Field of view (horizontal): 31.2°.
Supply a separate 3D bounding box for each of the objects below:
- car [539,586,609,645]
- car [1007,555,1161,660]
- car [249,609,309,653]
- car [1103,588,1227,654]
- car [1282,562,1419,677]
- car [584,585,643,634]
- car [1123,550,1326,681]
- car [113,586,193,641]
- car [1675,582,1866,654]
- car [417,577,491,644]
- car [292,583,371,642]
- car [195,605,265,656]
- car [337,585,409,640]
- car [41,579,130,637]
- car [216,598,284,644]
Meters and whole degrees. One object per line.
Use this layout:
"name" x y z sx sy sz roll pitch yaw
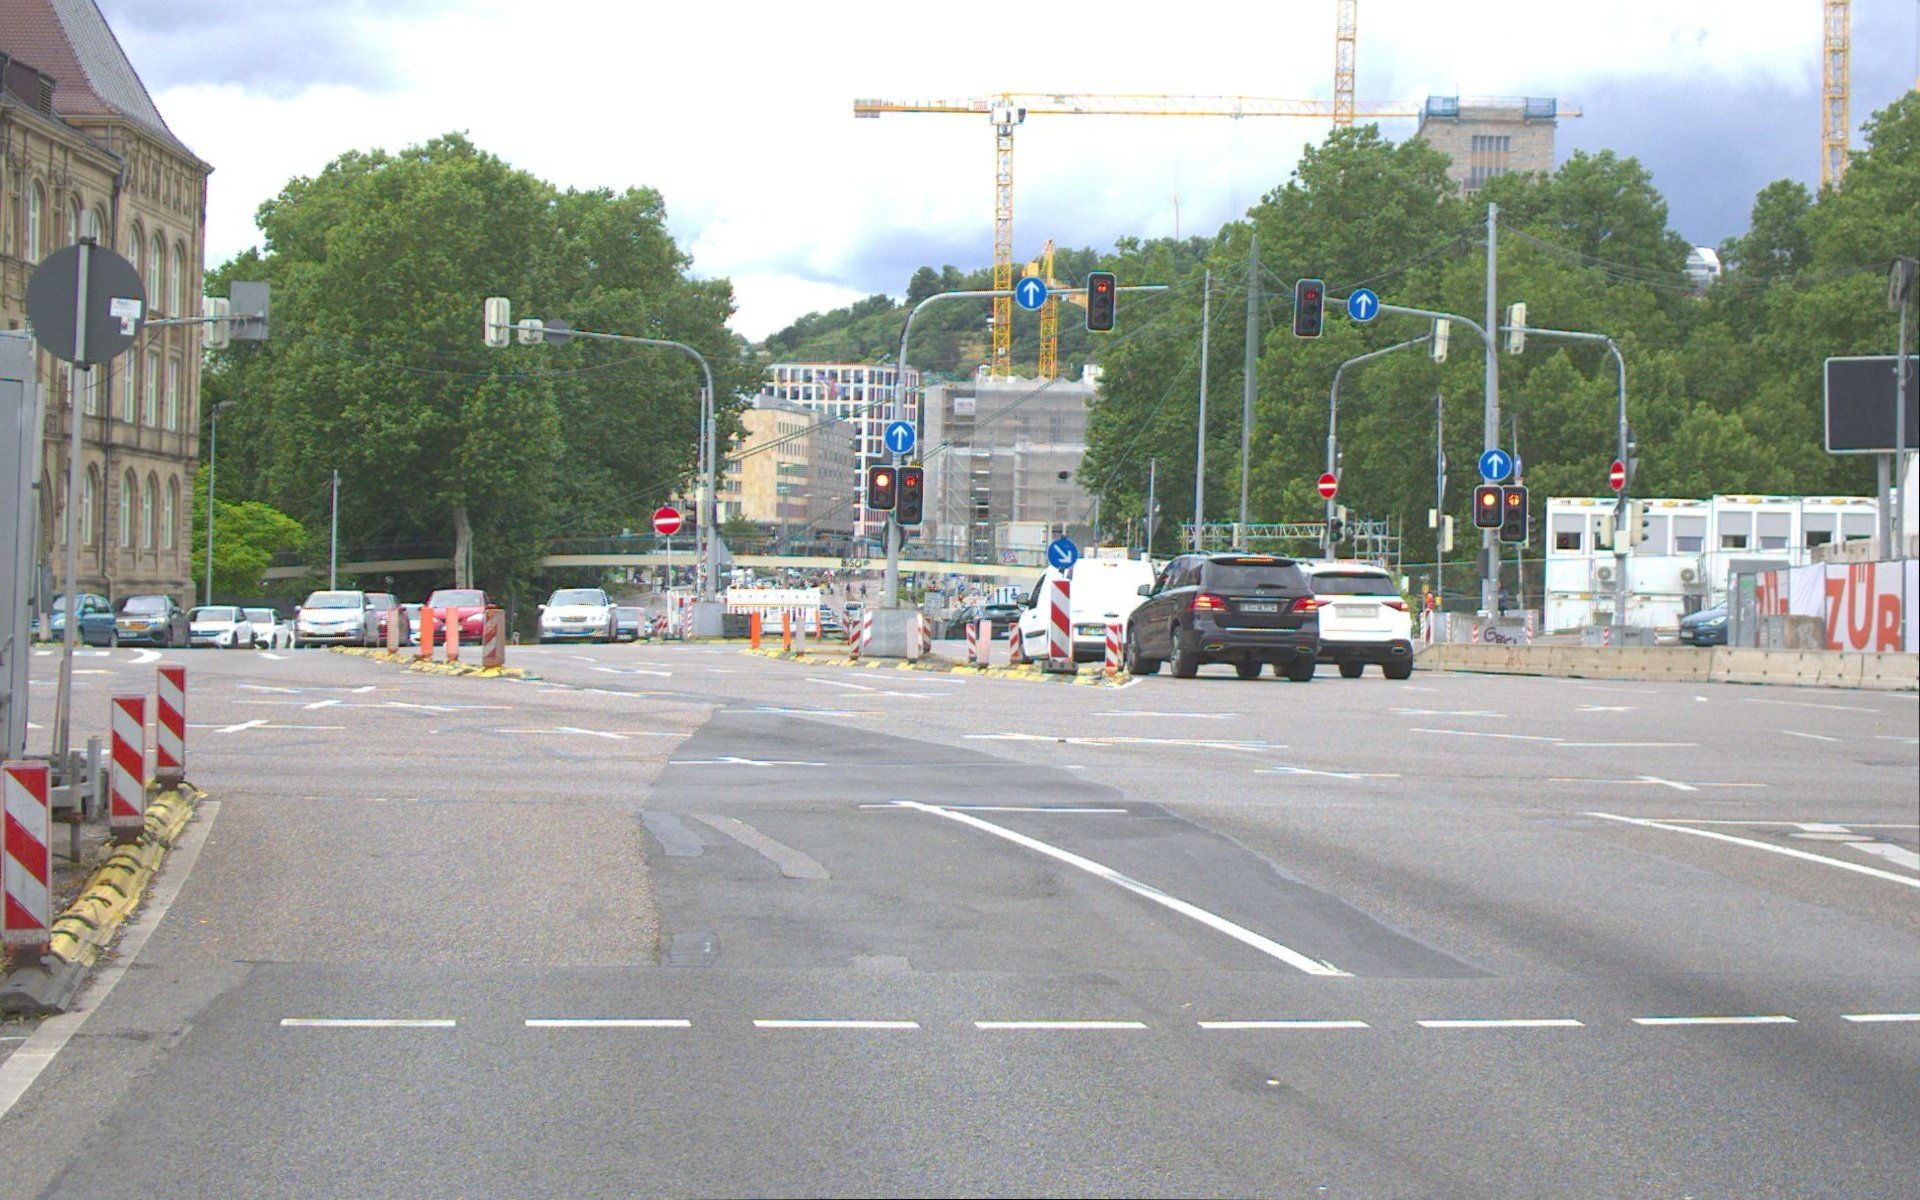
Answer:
"car" -9.559 0.376 85.127 1.675 1.393 3.684 1 1 -7
"car" 1.961 0.100 55.537 1.816 1.619 4.001 1 1 -8
"car" -22.862 1.030 115.526 1.675 1.393 3.684 1 1 -7
"car" 4.514 0.451 75.999 1.675 1.393 3.087 1 1 -19
"car" 5.997 0.268 53.058 1.676 1.696 3.374 1 1 -1
"car" -10.365 0.282 102.746 1.675 1.393 3.684 1 1 -7
"car" 3.671 0.185 48.491 1.831 1.740 4.257 1 1 -10
"car" -21.791 0.356 92.903 1.675 1.393 3.684 1 1 -7
"car" 18.979 0.419 80.549 3.986 1.619 1.823 1 1 -19
"car" -12.440 0.248 84.729 1.675 1.575 3.684 1 1 -7
"car" -15.634 0.286 85.639 1.675 1.393 3.684 1 1 -7
"car" -21.520 0.887 101.444 1.675 1.393 3.684 1 1 -7
"car" -15.654 0.324 91.800 1.675 1.393 3.684 1 1 -7
"car" -21.984 0.188 86.497 1.675 1.393 3.684 1 1 -7
"car" -22.387 0.668 108.505 1.675 1.393 3.683 1 -1 -5
